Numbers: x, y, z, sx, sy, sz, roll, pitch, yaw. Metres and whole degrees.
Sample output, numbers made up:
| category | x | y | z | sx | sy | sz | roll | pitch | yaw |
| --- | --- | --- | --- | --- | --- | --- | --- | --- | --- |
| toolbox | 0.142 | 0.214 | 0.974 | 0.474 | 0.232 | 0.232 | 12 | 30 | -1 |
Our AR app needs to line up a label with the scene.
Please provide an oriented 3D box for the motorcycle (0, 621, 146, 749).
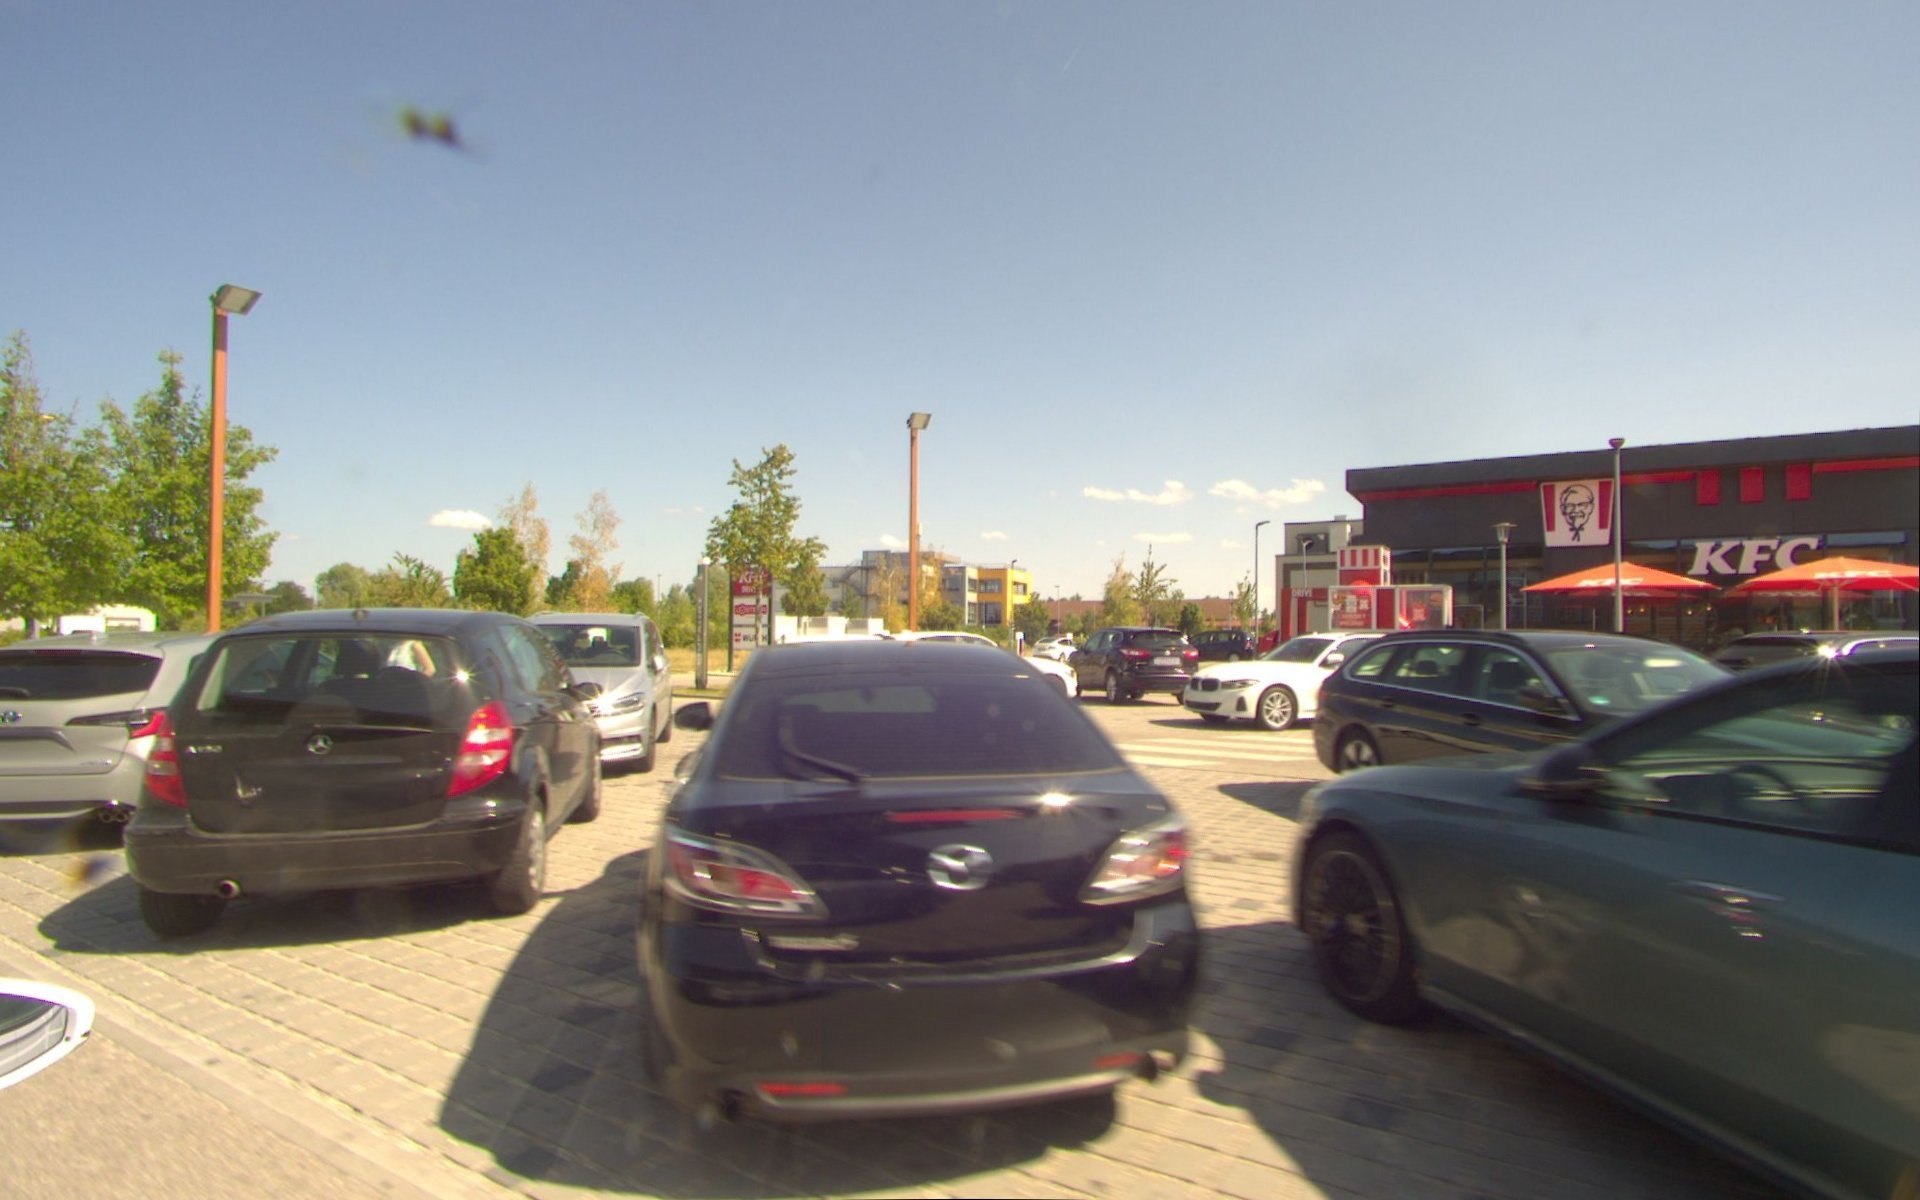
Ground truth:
| category | x | y | z | sx | sy | sz | roll | pitch | yaw |
| --- | --- | --- | --- | --- | --- | --- | --- | --- | --- |
| motorcycle | -10.423 | 0.899 | 11.314 | 1.052 | 1.267 | 2.248 | 2 | -1 | -16 |

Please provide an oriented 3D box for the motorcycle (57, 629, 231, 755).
| category | x | y | z | sx | sy | sz | roll | pitch | yaw |
| --- | --- | --- | --- | --- | --- | --- | --- | --- | --- |
| motorcycle | -9.090 | 0.970 | 11.280 | 0.807 | 1.247 | 2.136 | 2 | -1 | -19 |

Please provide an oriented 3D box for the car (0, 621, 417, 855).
| category | x | y | z | sx | sy | sz | roll | pitch | yaw |
| --- | --- | --- | --- | --- | --- | --- | --- | --- | --- |
| car | -6.502 | 0.925 | 8.593 | 1.801 | 1.465 | 4.661 | 1 | -1 | -10 |

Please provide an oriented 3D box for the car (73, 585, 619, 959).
| category | x | y | z | sx | sy | sz | roll | pitch | yaw |
| --- | --- | --- | --- | --- | --- | --- | --- | --- | --- |
| car | -3.380 | 0.828 | 6.477 | 1.779 | 1.613 | 3.997 | 1 | -2 | -13 |

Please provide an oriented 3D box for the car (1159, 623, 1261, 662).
| category | x | y | z | sx | sy | sz | roll | pitch | yaw |
| --- | --- | --- | --- | --- | --- | --- | --- | --- | --- |
| car | 11.638 | 1.964 | 46.690 | 4.320 | 1.707 | 1.634 | -1 | -2 | 31 |

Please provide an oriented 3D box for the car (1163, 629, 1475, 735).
| category | x | y | z | sx | sy | sz | roll | pitch | yaw |
| --- | --- | --- | --- | --- | --- | --- | --- | --- | --- |
| car | 5.622 | 1.241 | 15.767 | 4.394 | 1.490 | 1.911 | 1 | -2 | -18 |

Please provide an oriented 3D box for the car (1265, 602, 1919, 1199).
| category | x | y | z | sx | sy | sz | roll | pitch | yaw |
| --- | --- | --- | --- | --- | --- | --- | --- | --- | --- |
| car | 2.708 | 0.795 | 2.374 | 1.852 | 1.530 | 4.540 | 1 | -2 | -12 |

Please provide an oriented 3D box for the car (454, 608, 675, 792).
| category | x | y | z | sx | sy | sz | roll | pitch | yaw |
| --- | --- | --- | --- | --- | --- | --- | --- | --- | --- |
| car | -4.190 | 0.971 | 11.224 | 1.716 | 1.661 | 4.063 | 1 | -2 | -13 |

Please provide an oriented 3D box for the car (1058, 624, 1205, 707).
| category | x | y | z | sx | sy | sz | roll | pitch | yaw |
| --- | --- | --- | --- | --- | --- | --- | --- | --- | --- |
| car | 3.523 | 1.343 | 21.305 | 1.724 | 1.596 | 4.085 | 1 | -2 | -12 |

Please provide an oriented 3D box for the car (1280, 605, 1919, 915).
| category | x | y | z | sx | sy | sz | roll | pitch | yaw |
| --- | --- | --- | --- | --- | --- | --- | --- | --- | --- |
| car | 4.357 | 0.884 | 7.315 | 1.947 | 1.530 | 4.415 | 1 | -2 | -12 |

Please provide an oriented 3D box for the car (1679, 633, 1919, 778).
| category | x | y | z | sx | sy | sz | roll | pitch | yaw |
| --- | --- | --- | --- | --- | --- | --- | --- | --- | --- |
| car | 10.733 | 1.174 | 12.162 | 3.944 | 1.508 | 1.812 | 2 | -2 | -30 |

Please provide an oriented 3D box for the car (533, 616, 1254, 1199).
| category | x | y | z | sx | sy | sz | roll | pitch | yaw |
| --- | --- | --- | --- | --- | --- | --- | --- | --- | --- |
| car | -0.465 | 0.861 | 4.498 | 1.794 | 1.467 | 4.075 | 1 | -2 | -10 |

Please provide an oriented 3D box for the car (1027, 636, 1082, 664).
| category | x | y | z | sx | sy | sz | roll | pitch | yaw |
| --- | --- | --- | --- | --- | --- | --- | --- | --- | --- |
| car | 5.795 | 3.031 | 61.185 | 1.921 | 1.588 | 3.985 | 0 | -2 | 29 |

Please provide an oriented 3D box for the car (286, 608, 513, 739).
| category | x | y | z | sx | sy | sz | roll | pitch | yaw |
| --- | --- | --- | --- | --- | --- | --- | --- | --- | --- |
| car | -7.670 | 0.938 | 14.159 | 1.862 | 1.556 | 4.184 | 1 | -1 | -16 |

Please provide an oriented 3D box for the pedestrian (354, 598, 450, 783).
| category | x | y | z | sx | sy | sz | roll | pitch | yaw |
| --- | --- | --- | --- | --- | --- | --- | --- | --- | --- |
| pedestrian | -5.388 | 0.863 | 9.692 | 0.599 | 1.735 | 0.563 | 1 | -1 | -5 |

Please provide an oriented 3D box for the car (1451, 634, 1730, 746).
| category | x | y | z | sx | sy | sz | roll | pitch | yaw |
| --- | --- | --- | --- | --- | --- | --- | --- | --- | --- |
| car | 9.155 | 1.223 | 14.498 | 3.943 | 1.421 | 1.812 | 2 | -2 | -30 |

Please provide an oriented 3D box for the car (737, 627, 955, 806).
| category | x | y | z | sx | sy | sz | roll | pitch | yaw |
| --- | --- | --- | --- | --- | --- | --- | --- | --- | --- |
| car | -1.355 | 0.996 | 10.171 | 1.761 | 1.426 | 4.079 | 1 | -2 | -13 |

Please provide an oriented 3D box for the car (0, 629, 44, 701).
| category | x | y | z | sx | sy | sz | roll | pitch | yaw |
| --- | --- | --- | --- | --- | --- | --- | --- | --- | --- |
| car | -20.309 | 1.222 | 18.704 | 1.798 | 1.395 | 4.424 | -1 | -2 | 35 |

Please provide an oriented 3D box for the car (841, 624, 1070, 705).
| category | x | y | z | sx | sy | sz | roll | pitch | yaw |
| --- | --- | --- | --- | --- | --- | --- | --- | --- | --- |
| car | -0.115 | 1.232 | 19.450 | 4.112 | 1.443 | 1.841 | 1 | -2 | -17 |
